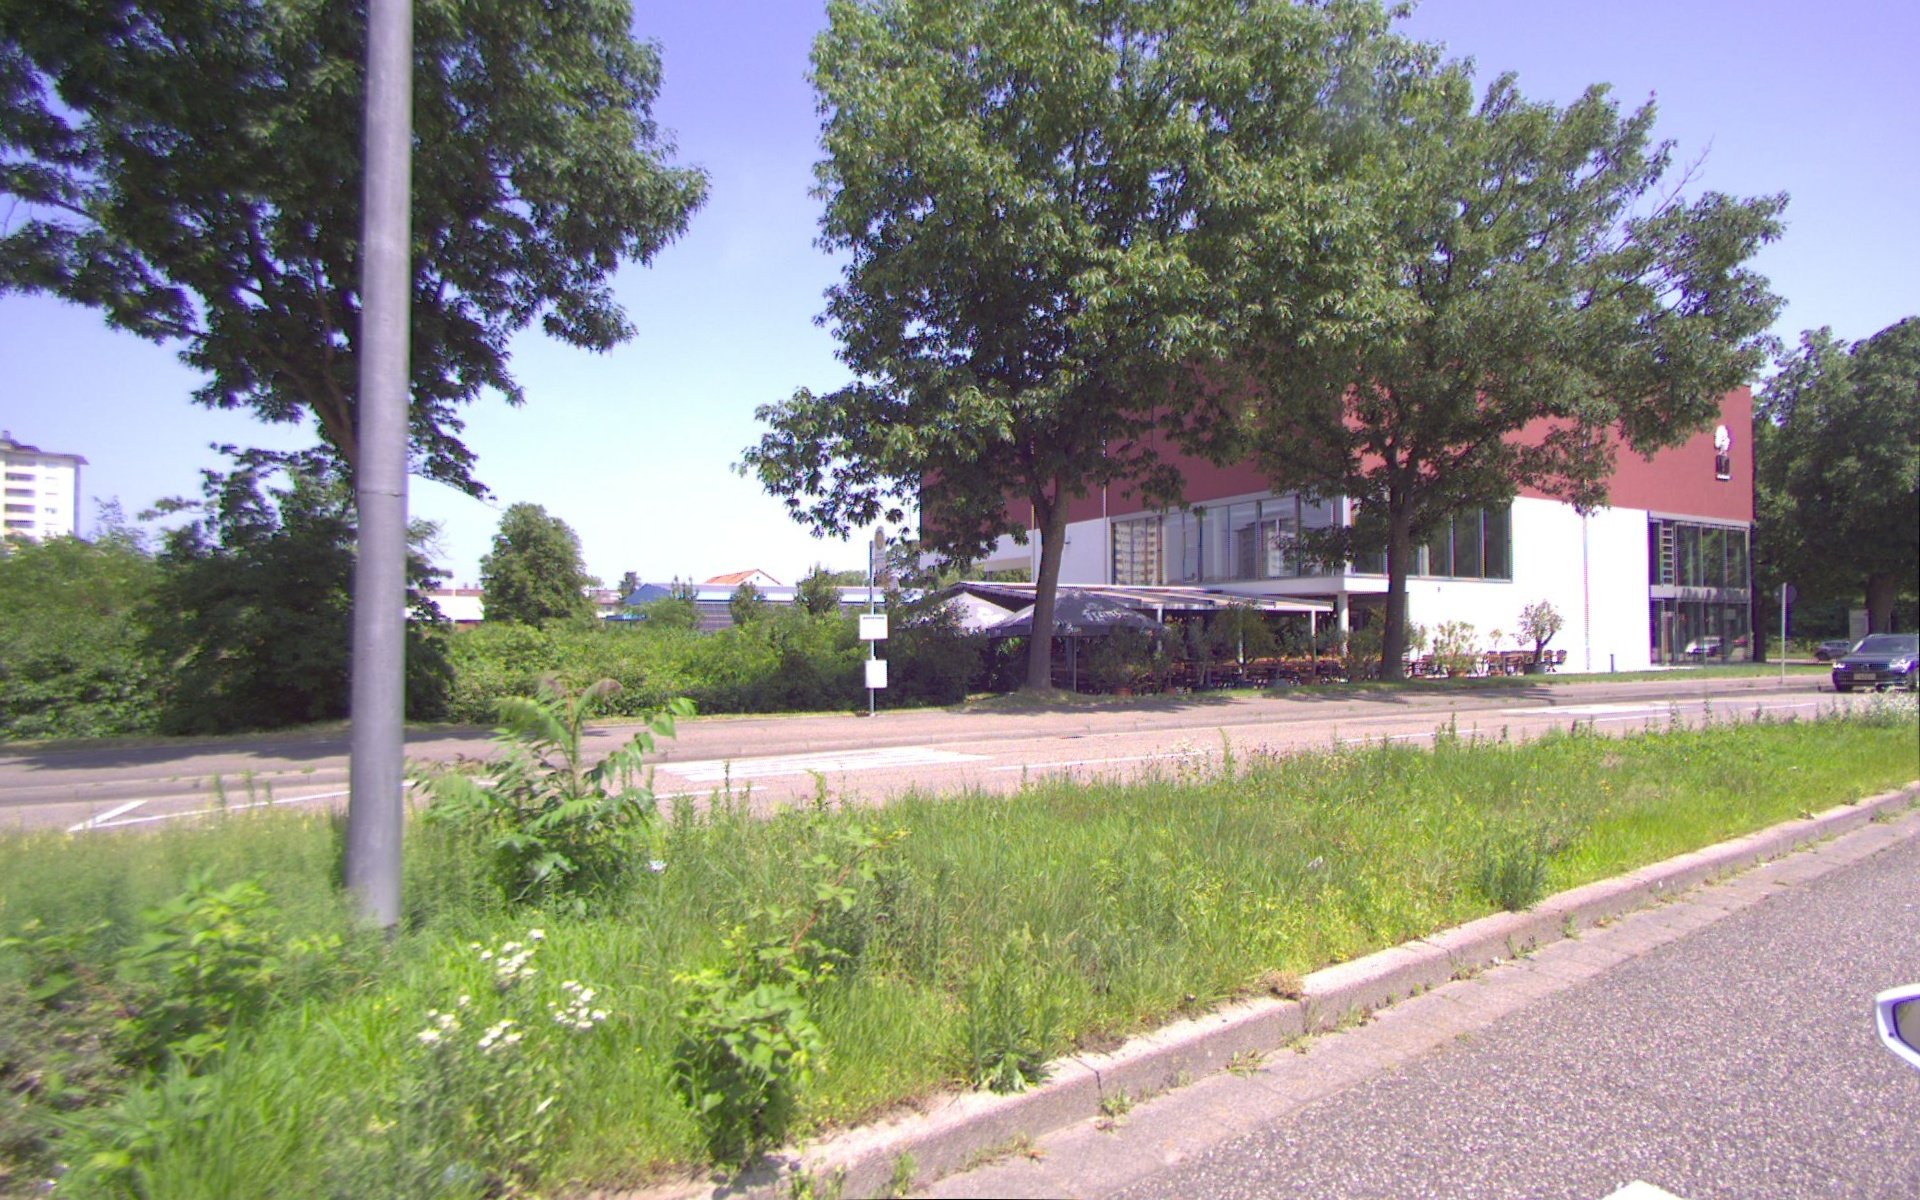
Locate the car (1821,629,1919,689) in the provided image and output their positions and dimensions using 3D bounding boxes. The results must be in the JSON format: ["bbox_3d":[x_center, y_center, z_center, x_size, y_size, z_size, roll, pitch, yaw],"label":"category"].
[{"bbox_3d":[26.930,1.702,29.065,4.162,1.624,1.709,1,-4,-30],"label":"car"}]

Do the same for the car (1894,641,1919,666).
[{"bbox_3d":[68.712,3.828,70.558,1.793,1.704,4.340,2,-1,-36],"label":"car"}]

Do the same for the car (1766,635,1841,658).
[{"bbox_3d":[67.187,3.689,80.043,1.795,1.704,4.335,2,-1,-39],"label":"car"}]
